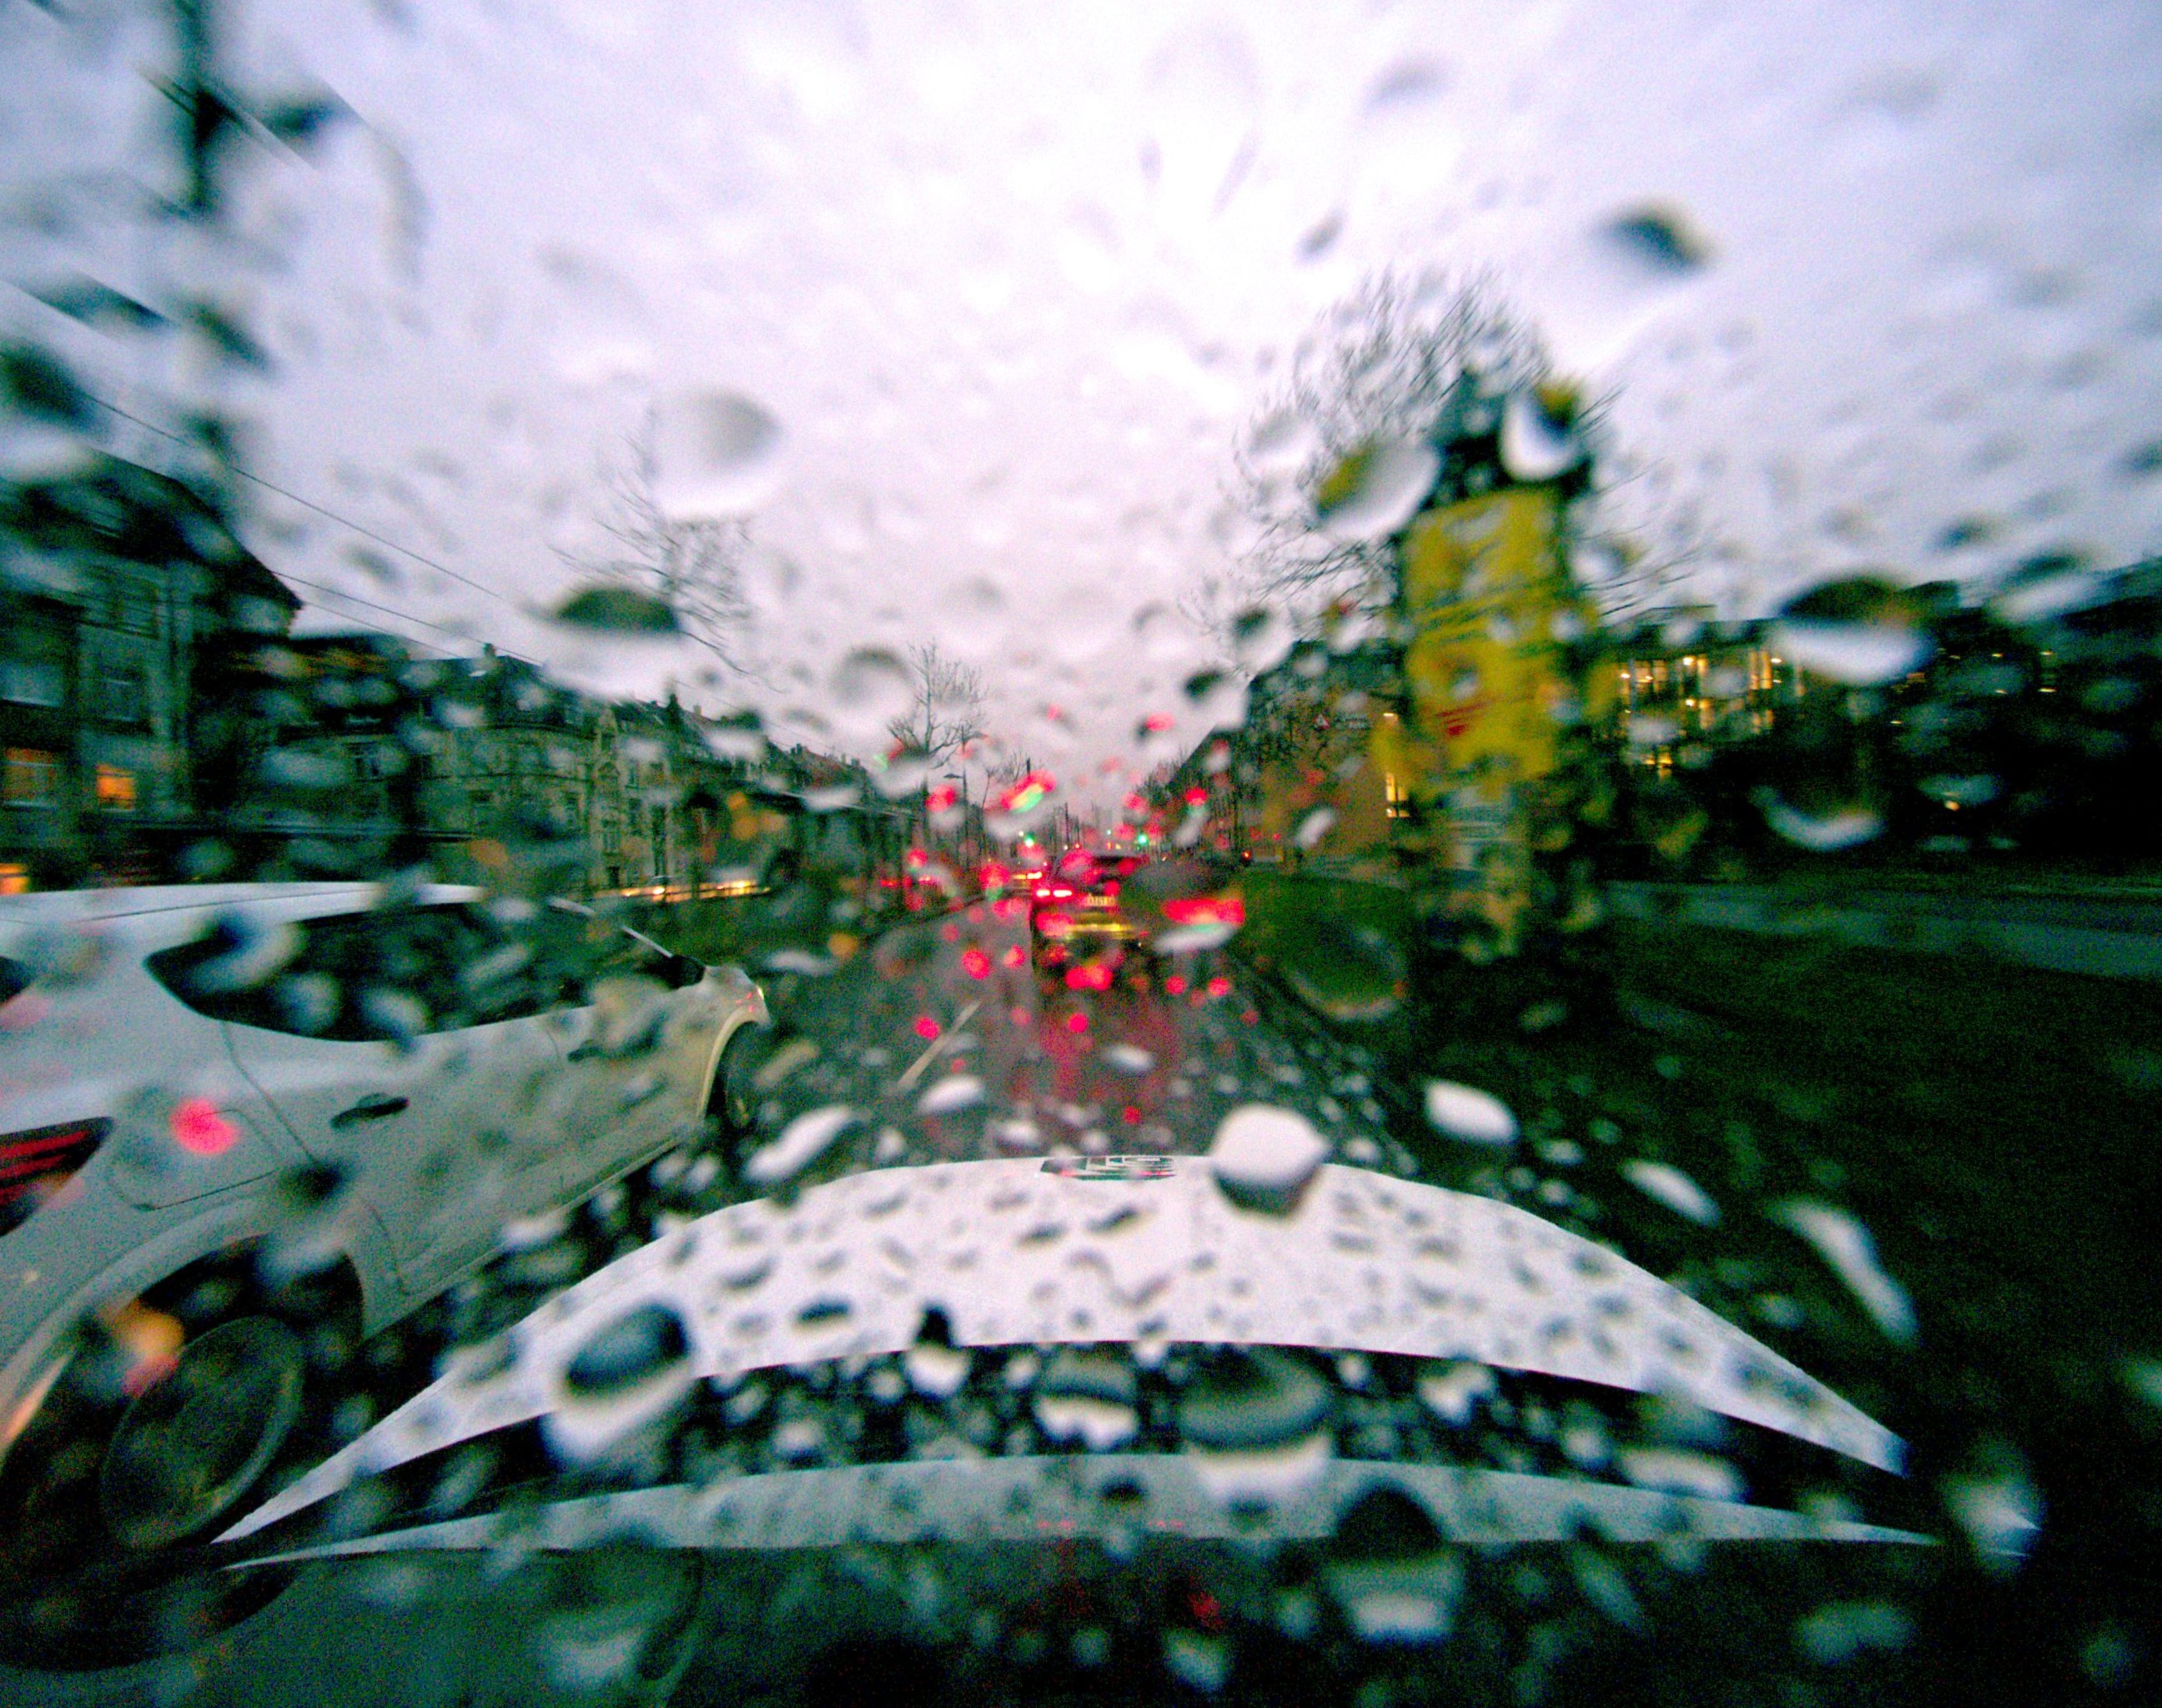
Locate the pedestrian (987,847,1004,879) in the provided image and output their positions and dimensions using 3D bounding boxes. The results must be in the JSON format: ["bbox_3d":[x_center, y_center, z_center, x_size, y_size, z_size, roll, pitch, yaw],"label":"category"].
[{"bbox_3d":[-4.343,0.452,41.525,0.696,1.552,0.669,-3,0,2],"label":"pedestrian"}]

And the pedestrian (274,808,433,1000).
[{"bbox_3d":[-6.452,0.422,7.264,0.708,1.606,0.747,-2,-1,2],"label":"pedestrian"}]

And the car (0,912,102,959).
[{"bbox_3d":[-28.945,2.246,21.631,1.648,1.070,3.419,-4,0,2],"label":"car"}]

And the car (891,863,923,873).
[{"bbox_3d":[-23.822,1.892,111.532,3.753,1.156,1.653,-4,0,7],"label":"car"}]

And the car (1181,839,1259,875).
[{"bbox_3d":[7.389,0.145,43.613,3.844,1.560,1.767,-5,0,3],"label":"car"}]

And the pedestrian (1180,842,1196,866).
[{"bbox_3d":[7.266,0.018,55.379,0.893,1.596,0.505,-4,0,44],"label":"pedestrian"}]

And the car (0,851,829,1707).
[{"bbox_3d":[-2.525,0.793,3.117,1.620,1.487,4.003,-3,1,3],"label":"car"}]

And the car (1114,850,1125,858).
[{"bbox_3d":[7.909,0.046,167.821,1.986,1.479,4.002,-4,0,2],"label":"car"}]

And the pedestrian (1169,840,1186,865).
[{"bbox_3d":[6.302,-0.094,53.198,0.893,1.596,0.505,-4,0,44],"label":"pedestrian"}]

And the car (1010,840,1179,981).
[{"bbox_3d":[0.200,0.678,11.952,1.984,1.616,4.000,-3,0,1],"label":"car"}]

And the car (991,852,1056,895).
[{"bbox_3d":[-2.077,0.669,30.720,1.986,1.398,4.002,-3,0,2],"label":"car"}]

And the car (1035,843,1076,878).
[{"bbox_3d":[-1.392,0.332,46.160,1.986,1.765,4.002,-3,0,2],"label":"car"}]

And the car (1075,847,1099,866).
[{"bbox_3d":[0.574,0.218,75.431,1.985,1.618,4.003,-3,0,3],"label":"car"}]

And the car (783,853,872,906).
[{"bbox_3d":[-9.830,0.937,31.901,1.986,1.823,4.002,-4,0,2],"label":"car"}]
